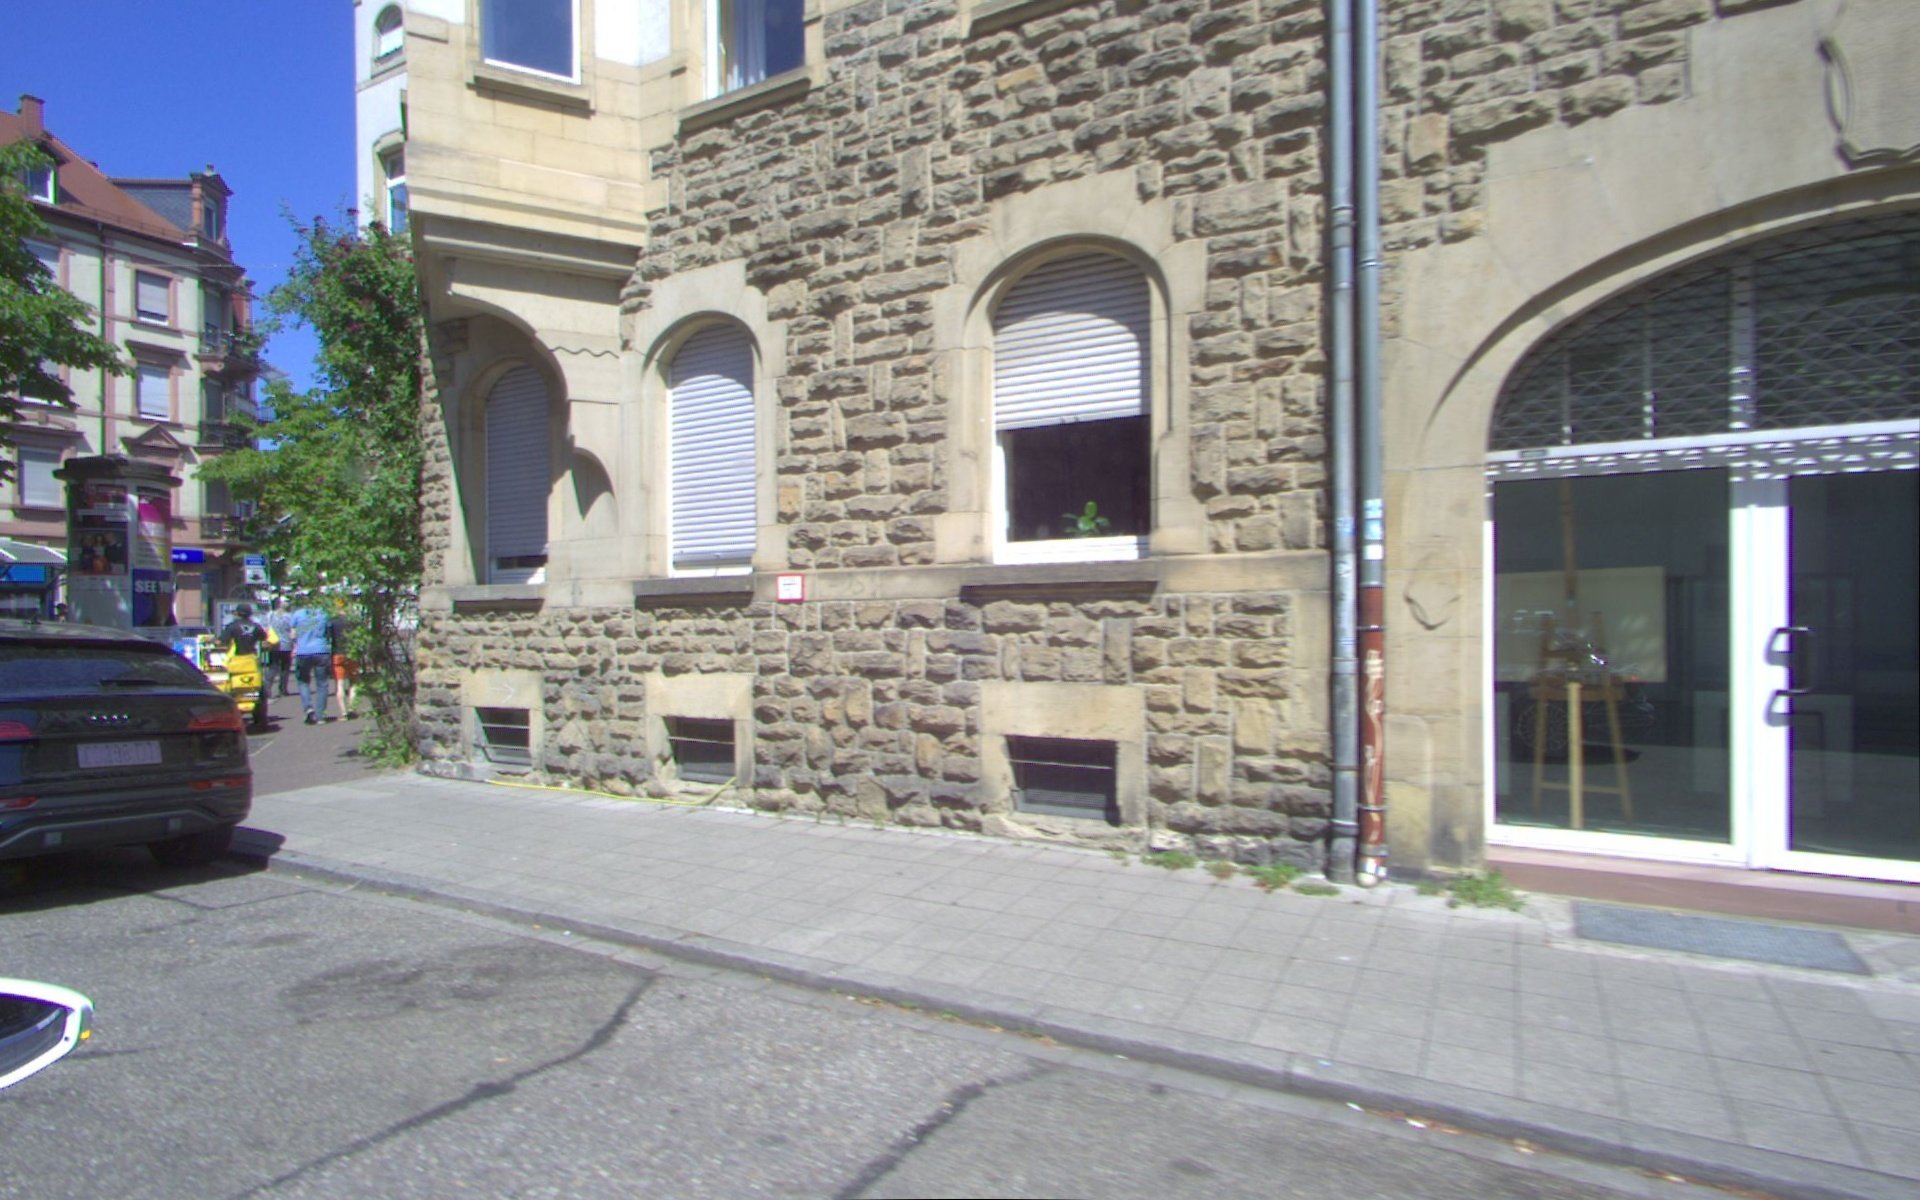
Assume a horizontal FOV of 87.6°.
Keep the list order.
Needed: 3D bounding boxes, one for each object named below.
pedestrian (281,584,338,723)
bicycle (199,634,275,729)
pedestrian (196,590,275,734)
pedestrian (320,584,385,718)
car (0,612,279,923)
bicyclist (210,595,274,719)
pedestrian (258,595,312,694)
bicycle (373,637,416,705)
[{"bbox_3d":[-9.152,0.742,14.084,0.646,1.893,0.516,-1,-1,42],"label":"pedestrian"},{"bbox_3d":[-10.276,1.104,14.300,0.786,1.184,2.561,-1,0,-34],"label":"bicycle"},{"bbox_3d":[-9.256,0.773,12.797,0.606,1.775,0.637,0,0,33],"label":"pedestrian"},{"bbox_3d":[-8.911,0.733,14.678,0.873,1.904,0.596,-1,-1,42],"label":"pedestrian"},{"bbox_3d":[-6.707,0.919,6.624,4.278,1.616,1.736,-1,-3,26],"label":"car"},{"bbox_3d":[-10.001,0.777,13.968,0.670,1.669,0.658,-1,0,-32],"label":"bicyclist"},{"bbox_3d":[-12.784,0.828,18.977,0.572,1.817,0.749,-1,0,-9],"label":"pedestrian"},{"bbox_3d":[-9.641,1.184,17.107,0.541,1.053,1.829,-1,0,-27],"label":"bicycle"}]
